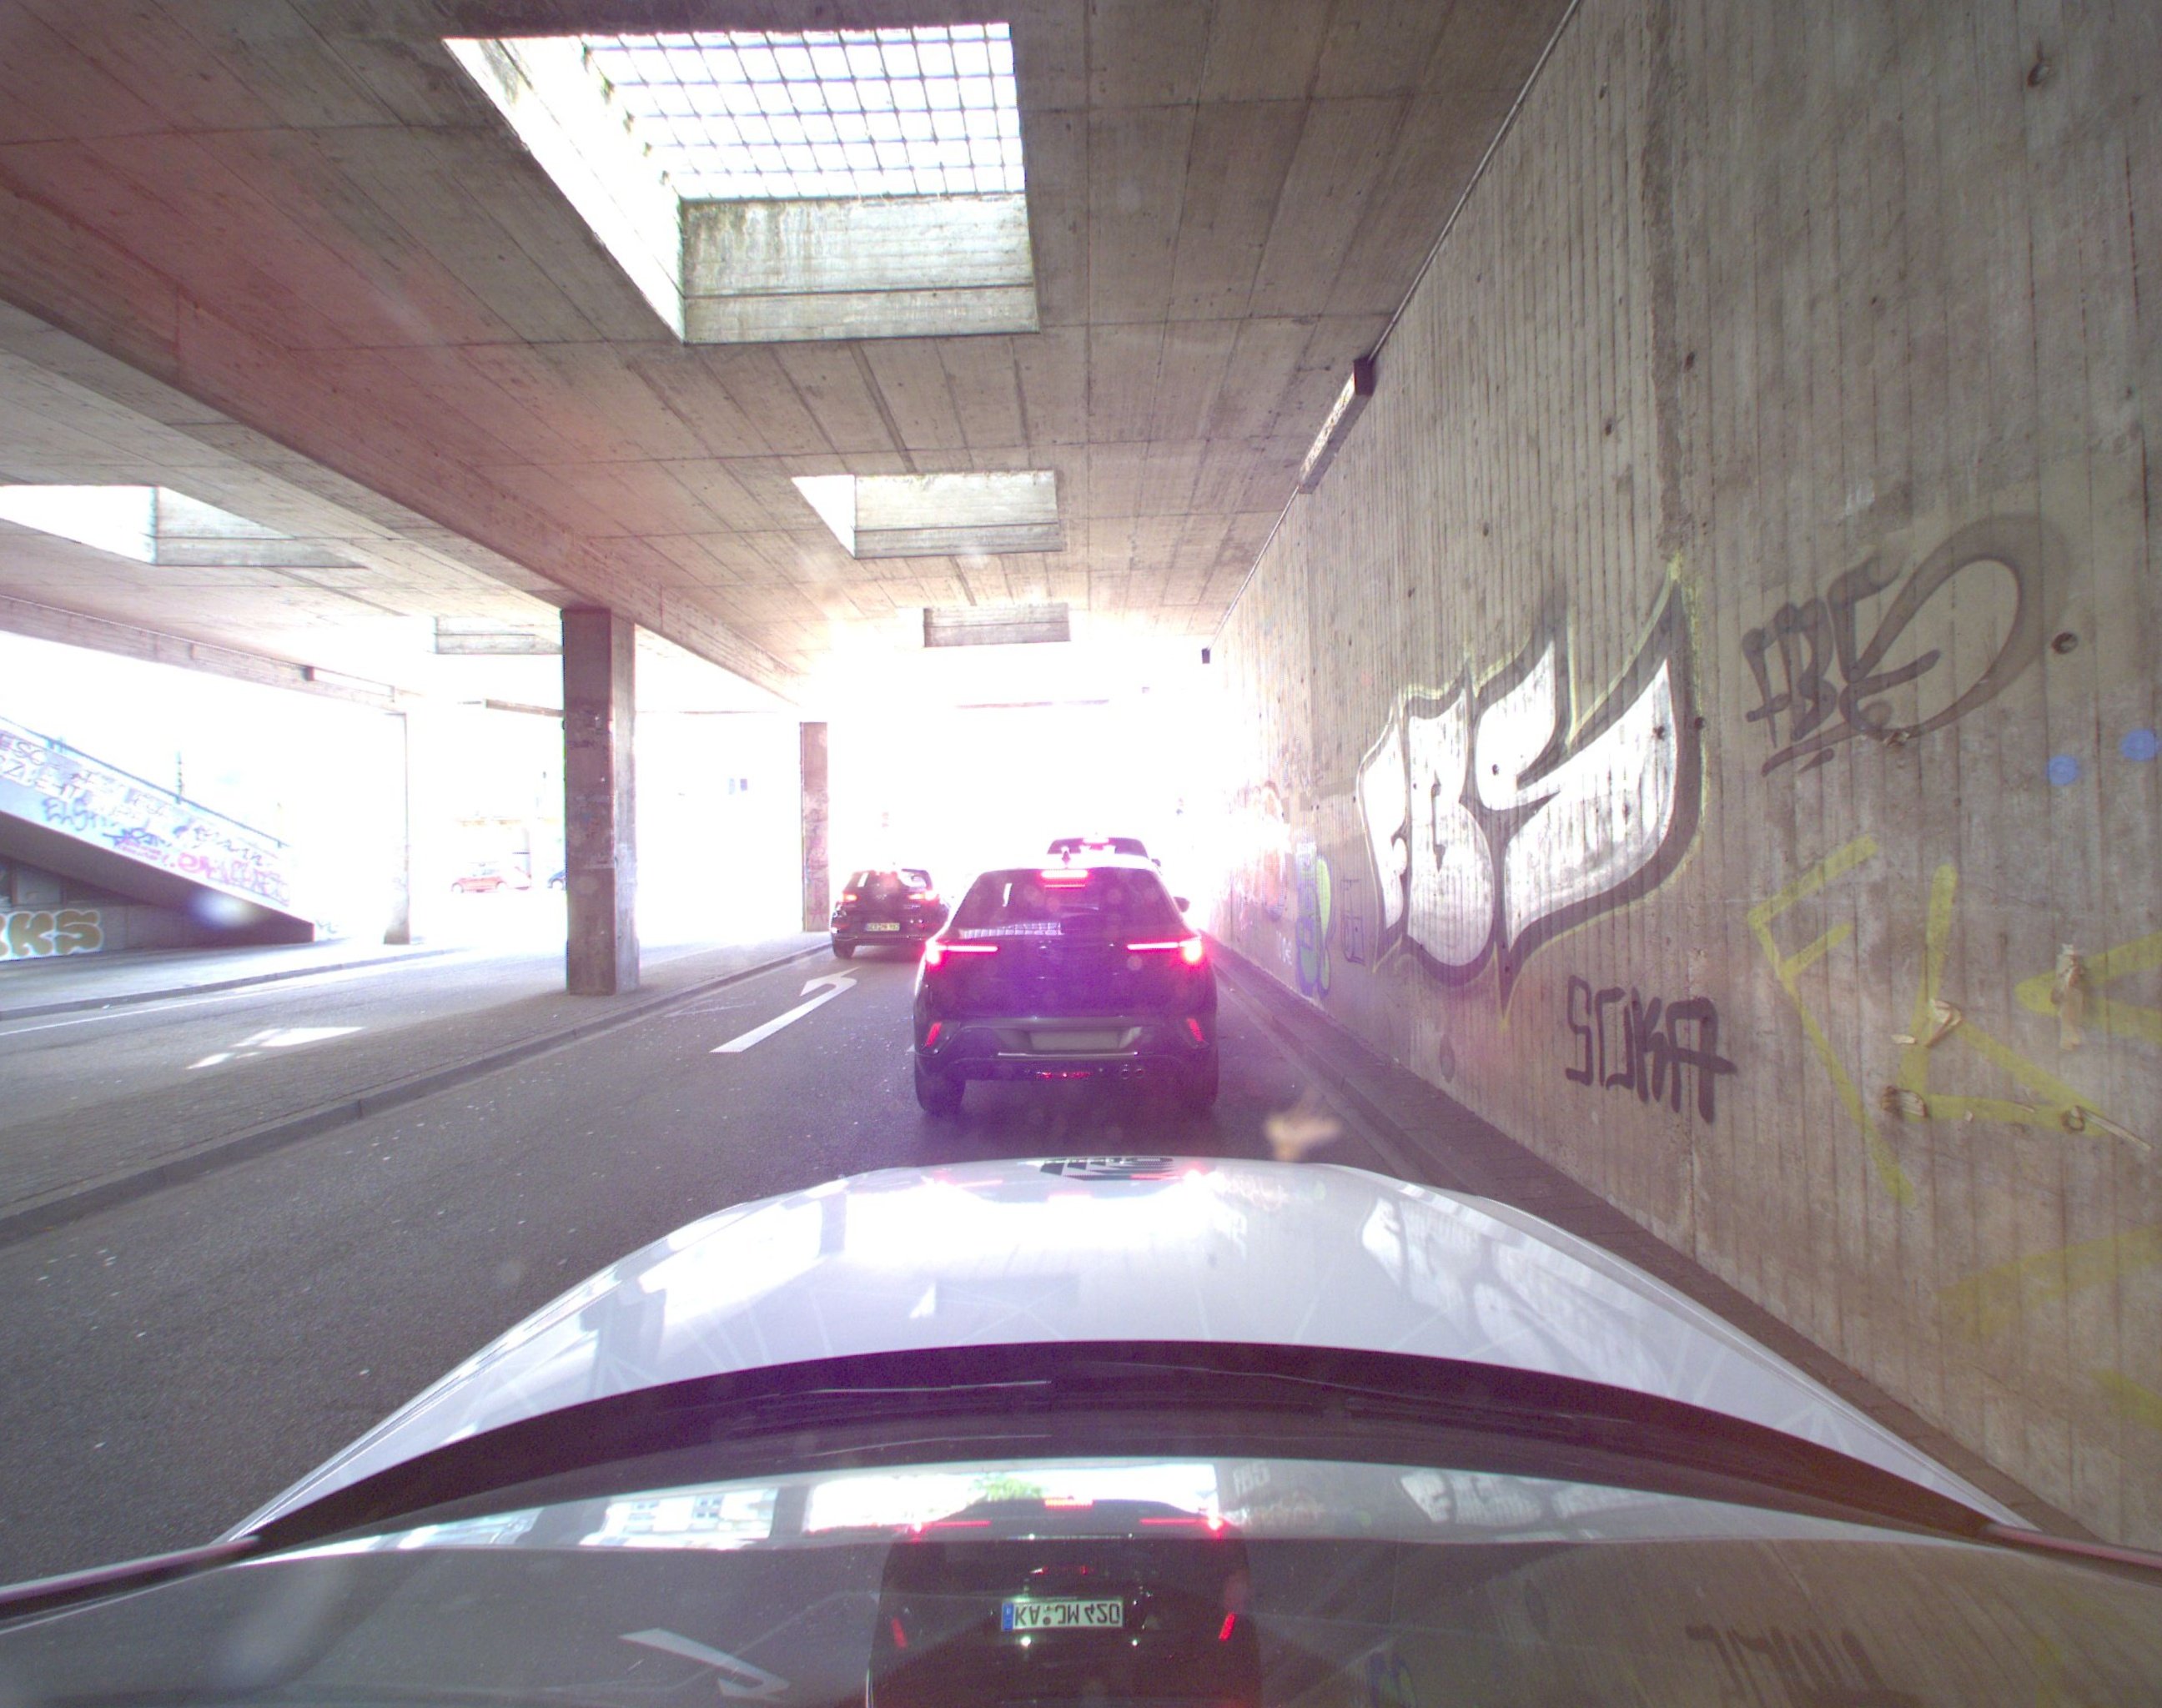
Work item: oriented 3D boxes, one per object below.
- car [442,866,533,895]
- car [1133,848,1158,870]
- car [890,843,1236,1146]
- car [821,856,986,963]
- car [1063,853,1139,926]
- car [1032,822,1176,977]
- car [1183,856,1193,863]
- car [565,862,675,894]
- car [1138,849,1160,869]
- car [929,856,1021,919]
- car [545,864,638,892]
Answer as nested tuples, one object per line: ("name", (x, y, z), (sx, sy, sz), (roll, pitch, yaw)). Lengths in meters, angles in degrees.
("car", (-32.931, 1.447, 45.283), (3.748, 1.475, 1.749), (-1, -1, 0))
("car", (4.966, 0.378, 62.264), (1.745, 1.667, 3.950), (0, -1, 6))
("car", (-0.031, 0.728, 6.238), (1.755, 1.531, 4.091), (-1, 0, 2))
("car", (-2.752, 0.801, 13.497), (1.755, 1.480, 3.846), (-1, 0, 2))
("car", (0.490, 0.762, 19.395), (1.603, 1.513, 4.055), (-1, 0, 2))
("car", (0.354, 0.568, 12.177), (1.755, 1.883, 4.148), (-1, 0, 2))
("car", (23.462, 1.188, 178.977), (1.742, 1.667, 3.958), (-1, -1, 13))
("car", (-22.339, 1.150, 39.580), (4.262, 1.398, 1.884), (-1, -1, 2))
("car", (5.754, 0.422, 68.368), (1.745, 1.667, 3.950), (0, -1, 6))
("car", (-2.662, 0.797, 21.225), (1.755, 1.480, 3.846), (-1, 0, 2))
("car", (-27.175, 1.324, 45.305), (4.096, 1.475, 1.737), (-1, -1, 0))
